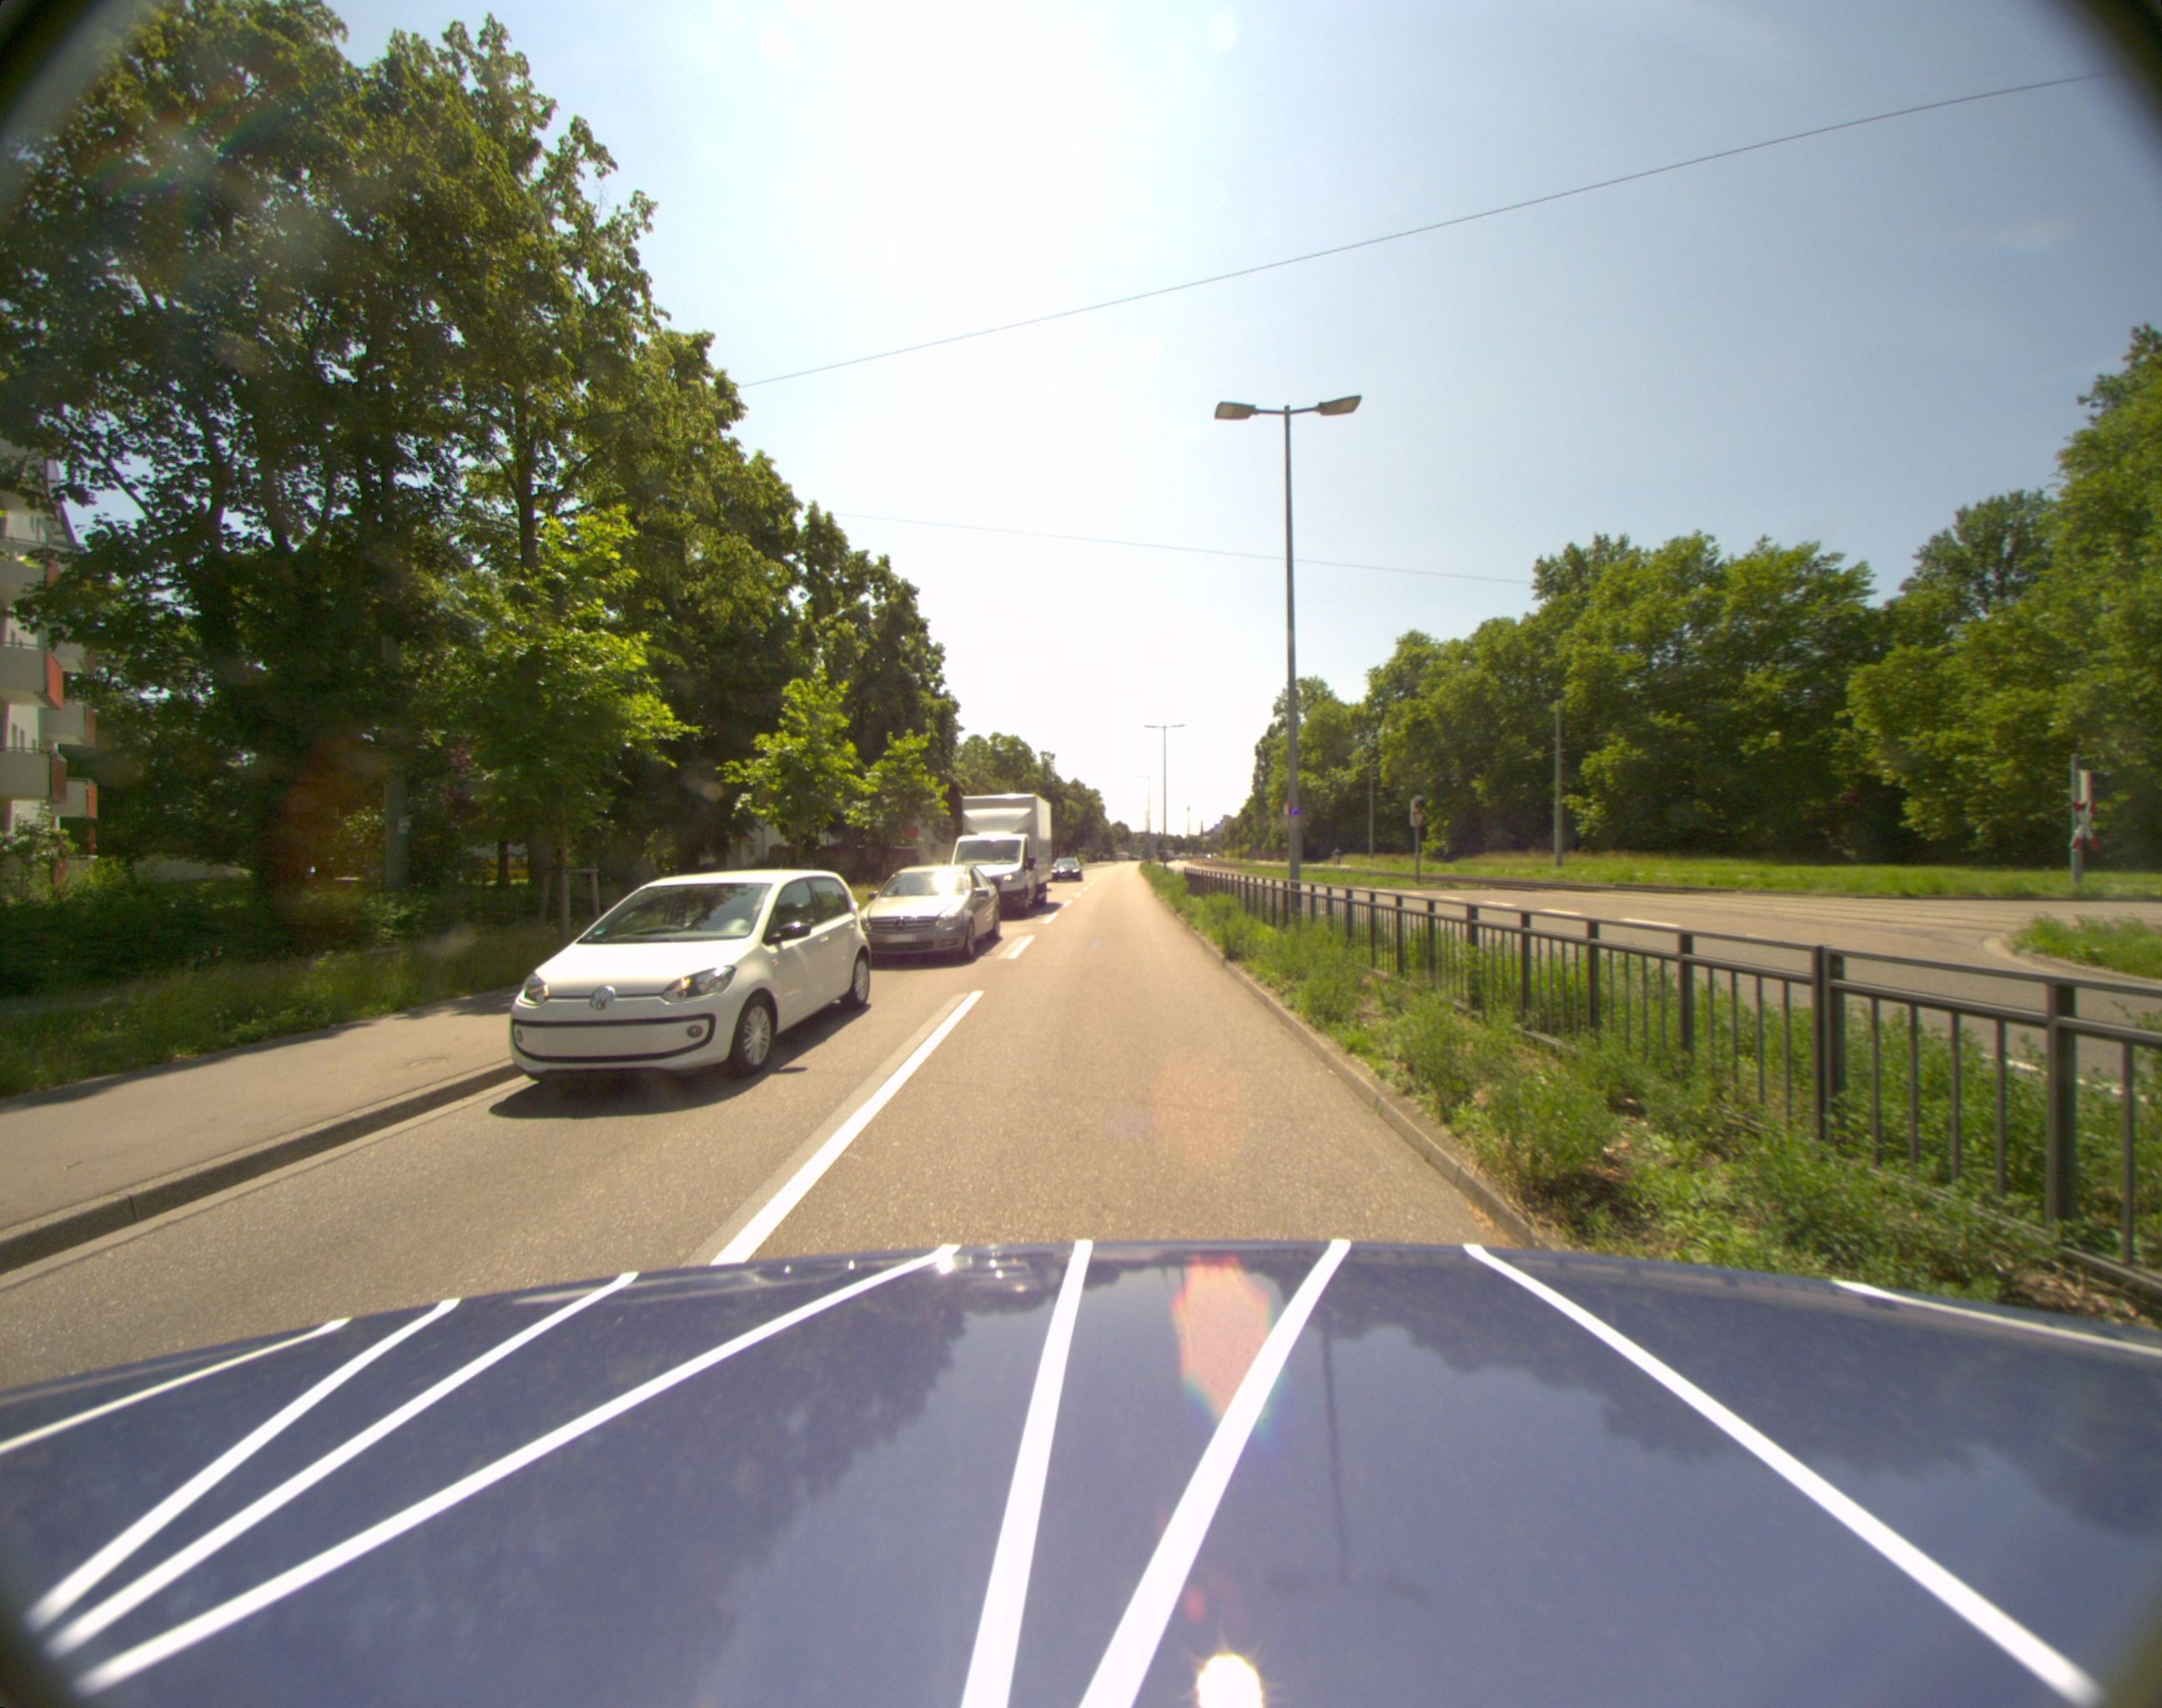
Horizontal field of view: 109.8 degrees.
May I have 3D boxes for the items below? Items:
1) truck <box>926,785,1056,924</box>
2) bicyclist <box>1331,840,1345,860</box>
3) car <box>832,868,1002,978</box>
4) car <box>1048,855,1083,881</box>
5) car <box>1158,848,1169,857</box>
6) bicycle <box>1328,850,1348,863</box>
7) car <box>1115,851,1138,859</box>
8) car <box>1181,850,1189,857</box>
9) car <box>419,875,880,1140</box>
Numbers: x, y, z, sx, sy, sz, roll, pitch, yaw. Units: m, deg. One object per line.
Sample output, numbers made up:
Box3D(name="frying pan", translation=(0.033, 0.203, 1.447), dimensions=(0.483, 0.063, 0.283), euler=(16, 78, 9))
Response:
Box3D(name="truck", translation=(-2.296, -0.003, 22.271), dimensions=(2.433, 3.326, 7.923), euler=(-1, 0, 3))
Box3D(name="bicyclist", translation=(23.589, -0.338, 69.689), dimensions=(0.862, 1.796, 1.118), euler=(-1, 1, 1))
Box3D(name="car", translation=(-2.472, 0.990, 12.533), dimensions=(1.840, 1.400, 4.087), euler=(-1, 0, 1))
Box3D(name="car", translation=(-0.899, 0.843, 47.040), dimensions=(1.998, 1.499, 4.000), euler=(-1, 0, 1))
Box3D(name="car", translation=(16.673, -0.296, 153.577), dimensions=(1.997, 1.847, 4.002), euler=(-1, 0, 7))
Box3D(name="bicycle", translation=(23.574, 0.234, 69.752), dimensions=(0.862, 1.155, 2.787), euler=(-1, 0, 1))
Box3D(name="car", translation=(13.485, 0.297, 225.258), dimensions=(6.635, 2.381, 3.201), euler=(-1, 0, 3))
Box3D(name="car", translation=(27.403, -0.194, 200.480), dimensions=(1.998, 1.847, 4.001), euler=(-1, 0, 5))
Box3D(name="car", translation=(-3.124, 0.992, 6.511), dimensions=(1.730, 1.470, 3.771), euler=(-1, 0, 1))
